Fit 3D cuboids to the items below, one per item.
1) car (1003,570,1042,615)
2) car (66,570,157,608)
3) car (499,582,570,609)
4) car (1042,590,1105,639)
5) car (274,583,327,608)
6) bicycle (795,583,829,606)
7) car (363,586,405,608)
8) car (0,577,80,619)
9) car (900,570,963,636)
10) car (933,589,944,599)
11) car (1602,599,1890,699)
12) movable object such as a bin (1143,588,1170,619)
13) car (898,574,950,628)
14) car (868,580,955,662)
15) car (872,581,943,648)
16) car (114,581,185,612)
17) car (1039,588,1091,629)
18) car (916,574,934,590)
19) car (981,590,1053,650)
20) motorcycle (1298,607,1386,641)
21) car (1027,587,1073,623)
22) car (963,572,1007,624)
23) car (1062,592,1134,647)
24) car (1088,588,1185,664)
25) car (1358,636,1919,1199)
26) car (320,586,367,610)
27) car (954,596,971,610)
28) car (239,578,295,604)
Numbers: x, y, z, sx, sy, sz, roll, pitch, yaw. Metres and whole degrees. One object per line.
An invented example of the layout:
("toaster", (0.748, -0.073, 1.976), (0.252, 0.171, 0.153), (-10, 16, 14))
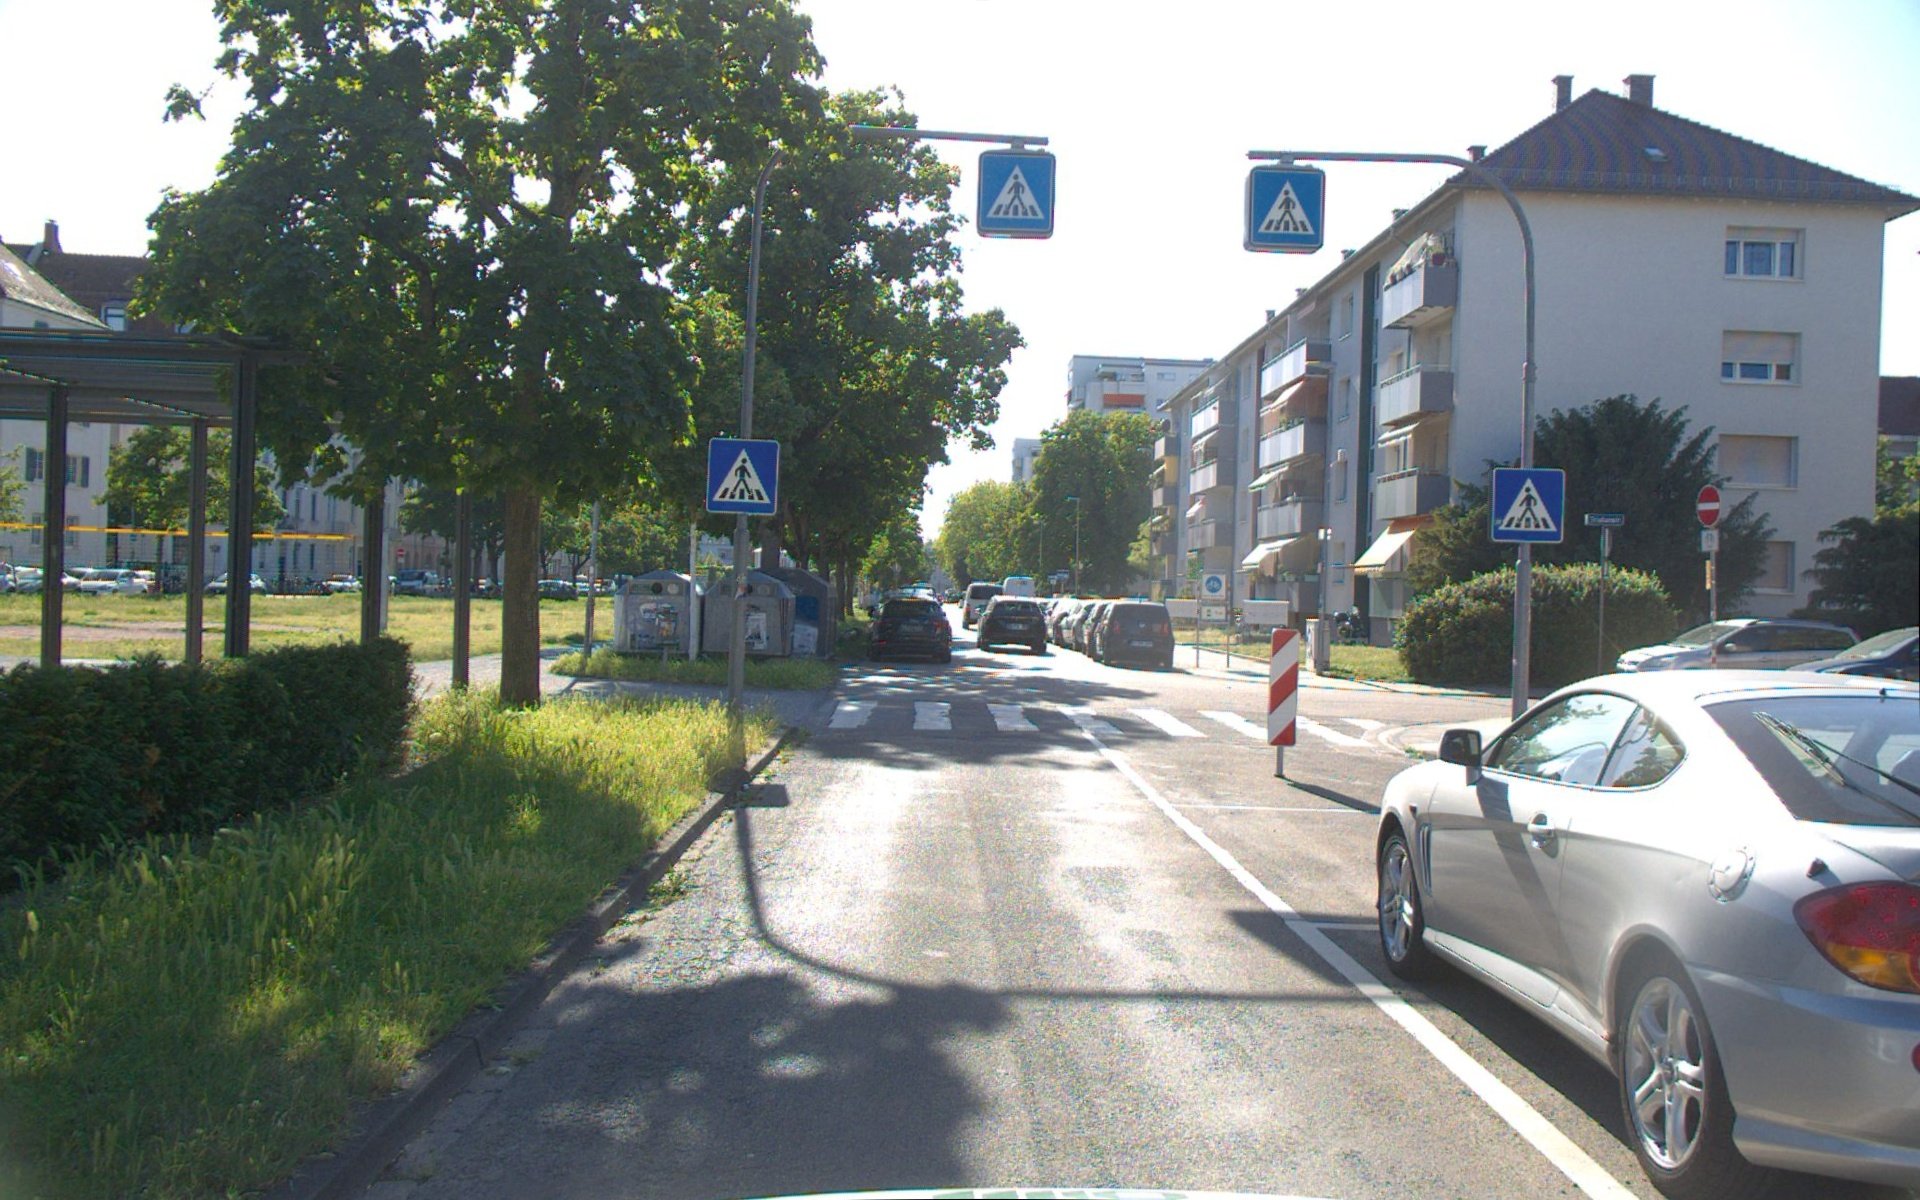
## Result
("car", (3.653, -0.449, 97.243), (1.953, 2.472, 4.499), (3, 0, -1))
("car", (-35.788, -0.474, 69.862), (1.758, 1.536, 3.999), (2, 0, -1))
("car", (-26.057, -0.300, 101.290), (3.909, 1.536, 1.798), (2, 0, -5))
("car", (3.772, 0.465, 55.435), (1.758, 1.536, 3.999), (2, 0, -1))
("car", (-42.808, -0.327, 107.428), (1.758, 1.536, 4.143), (2, 0, -1))
("bicycle", (-10.199, -0.373, 113.873), (2.277, 1.566, 0.630), (1, 0, -5))
("car", (-43.016, -0.221, 123.616), (1.758, 1.536, 3.999), (2, 0, -1))
("car", (-36.077, -0.103, 64.133), (1.758, 1.536, 3.999), (2, 0, -1))
("car", (-0.921, 0.072, 53.919), (1.953, 2.049, 3.999), (1, 0, -1))
("car", (-3.391, -0.901, 258.516), (1.758, 1.536, 3.999), (1, 0, -1))
("car", (14.135, 0.882, 29.878), (4.391, 1.651, 1.798), (2, -1, -4))
("movable object such as a bin", (10.231, 0.177, 86.203), (1.069, 1.536, 2.002), (1, 0, -1))
("car", (-1.400, 0.040, 65.463), (1.953, 2.049, 3.999), (1, 0, -1))
("car", (-1.030, 0.420, 36.538), (1.758, 1.652, 3.999), (2, 0, -1))
("car", (-1.351, 0.349, 43.873), (1.758, 1.652, 3.999), (2, 0, -1))
("car", (-42.389, -0.175, 86.605), (1.758, 1.536, 3.999), (2, 0, -1))
("car", (4.194, 0.324, 66.549), (1.758, 1.536, 3.999), (2, 0, -1))
("car", (-3.390, -1.714, 161.432), (1.758, 1.536, 3.999), (1, 0, -1))
("car", (1.508, 0.514, 45.306), (1.758, 1.536, 3.999), (2, 0, -1))
("motorcycle", (11.874, 0.736, 51.439), (2.507, 0.952, 0.830), (2, 0, -4))
("car", (4.010, 0.214, 74.196), (1.758, 1.536, 3.999), (2, 0, -1))
("car", (1.059, -0.114, 72.485), (1.758, 2.159, 3.999), (2, 0, -1))
("car", (4.109, 0.546, 49.718), (1.758, 1.536, 3.999), (2, 0, -1))
("car", (4.070, 0.569, 38.760), (1.758, 1.629, 3.999), (2, 0, -1))
("car", (2.700, 0.867, 5.389), (1.729, 1.342, 4.167), (2, 0, -1))
("car", (-42.398, -0.154, 113.813), (1.758, 1.536, 3.999), (2, 0, -1))
("car", (0.282, 0.316, 184.766), (1.758, 1.536, 3.999), (1, 0, -1))
("car", (-42.745, -0.564, 102.086), (1.758, 1.536, 3.999), (2, 0, -1))
